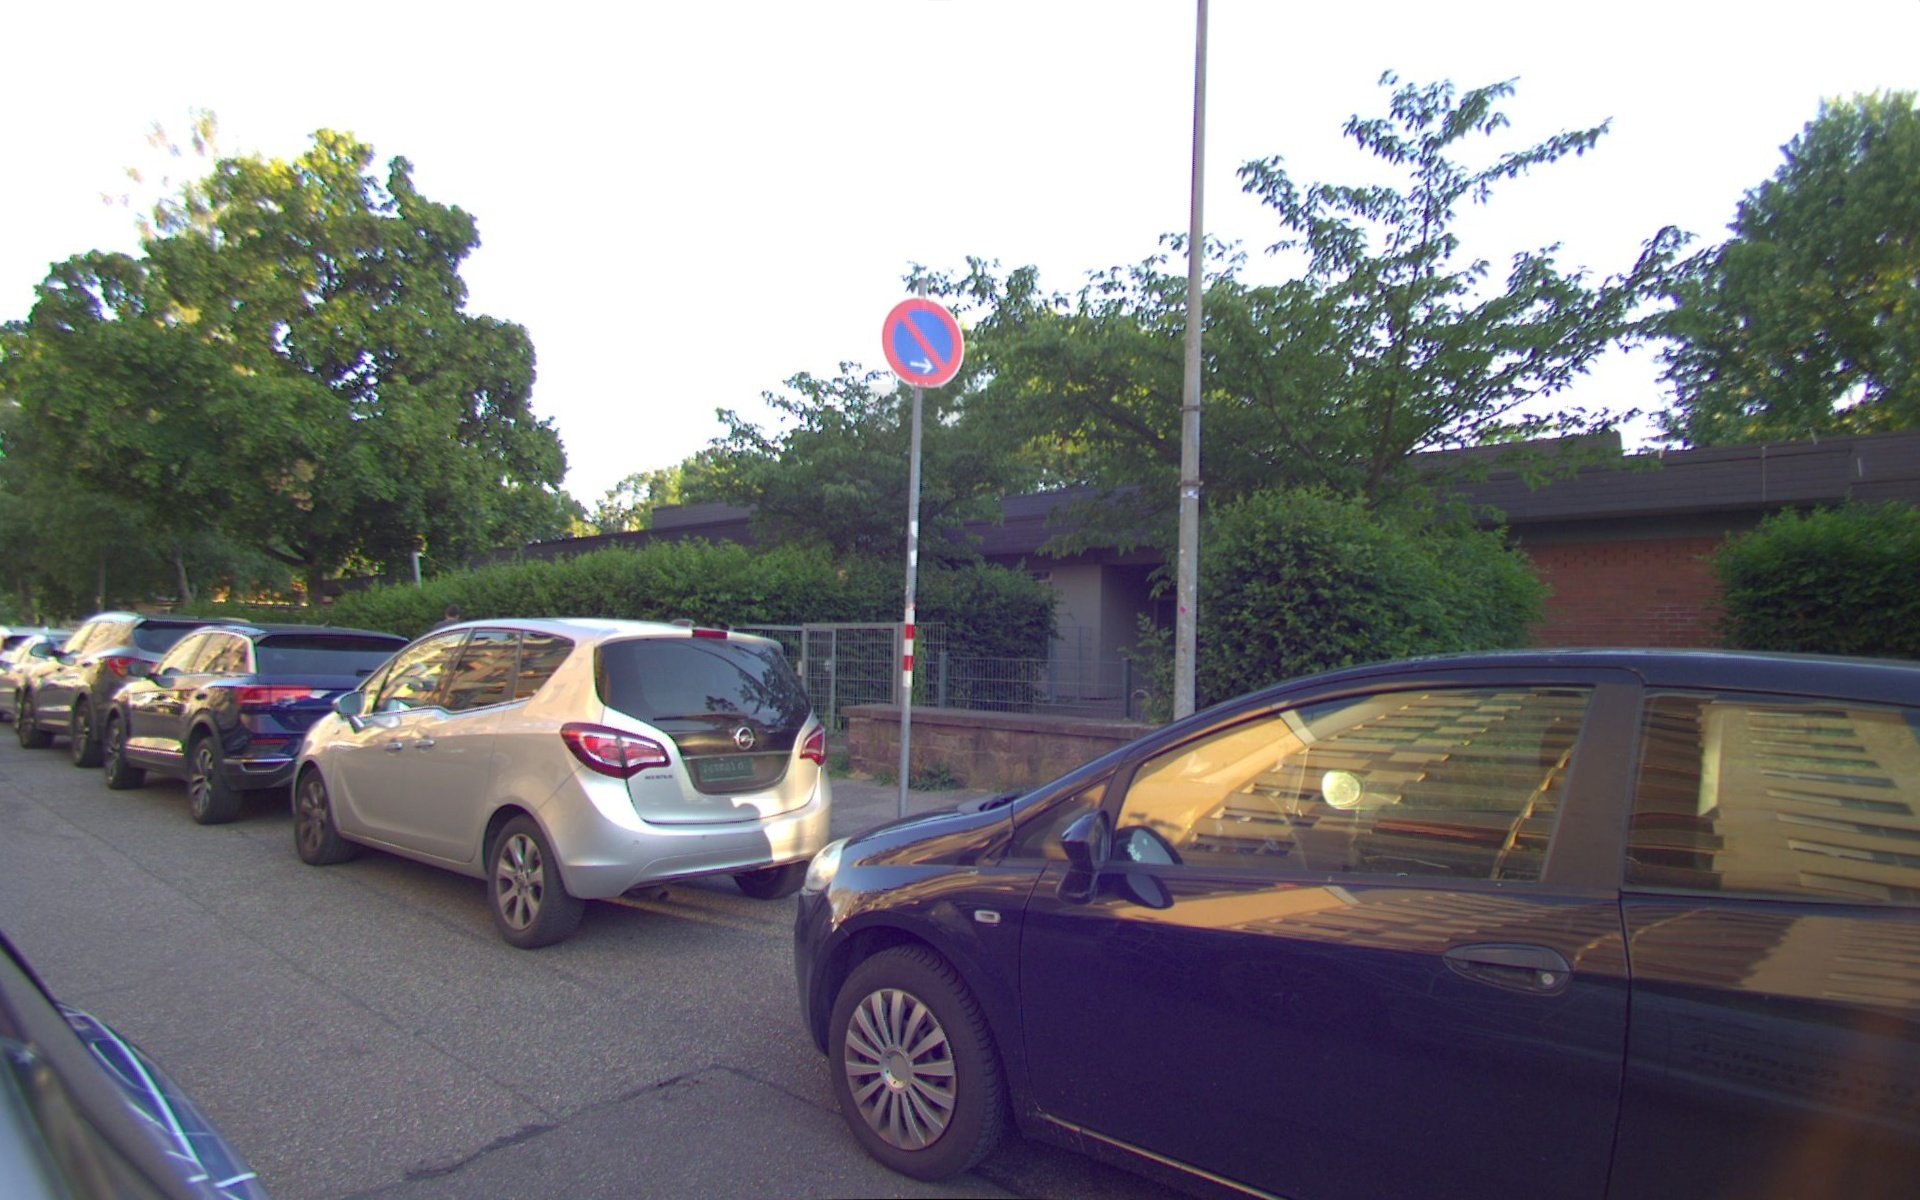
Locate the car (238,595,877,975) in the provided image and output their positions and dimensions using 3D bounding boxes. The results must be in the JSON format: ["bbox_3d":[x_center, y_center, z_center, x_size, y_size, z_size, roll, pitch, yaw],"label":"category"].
[{"bbox_3d":[-2.628,0.874,6.198,4.123,1.579,1.717,-2,-5,37],"label":"car"}]

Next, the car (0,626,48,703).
[{"bbox_3d":[-21.966,1.416,22.668,3.978,1.644,1.715,-2,-5,41],"label":"car"}]

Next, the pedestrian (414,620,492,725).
[{"bbox_3d":[-7.775,1.087,15.509,0.900,1.519,0.741,-2,-1,38],"label":"pedestrian"}]

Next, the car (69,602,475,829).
[{"bbox_3d":[-6.265,0.911,9.060,4.160,1.579,1.717,-2,-5,37],"label":"car"}]

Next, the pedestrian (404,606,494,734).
[{"bbox_3d":[-7.306,0.968,14.481,0.749,1.745,0.890,-2,-1,38],"label":"pedestrian"}]

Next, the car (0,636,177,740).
[{"bbox_3d":[-14.143,1.320,15.978,4.280,1.438,1.717,-2,-5,37],"label":"car"}]

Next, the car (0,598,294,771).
[{"bbox_3d":[-9.914,0.956,12.221,4.316,1.743,1.717,-2,-5,37],"label":"car"}]

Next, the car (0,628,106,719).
[{"bbox_3d":[-17.908,1.353,19.121,4.273,1.555,1.742,-2,-5,37],"label":"car"}]

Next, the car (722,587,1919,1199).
[{"bbox_3d":[1.294,0.844,2.587,3.691,1.579,1.717,-2,-5,37],"label":"car"}]
